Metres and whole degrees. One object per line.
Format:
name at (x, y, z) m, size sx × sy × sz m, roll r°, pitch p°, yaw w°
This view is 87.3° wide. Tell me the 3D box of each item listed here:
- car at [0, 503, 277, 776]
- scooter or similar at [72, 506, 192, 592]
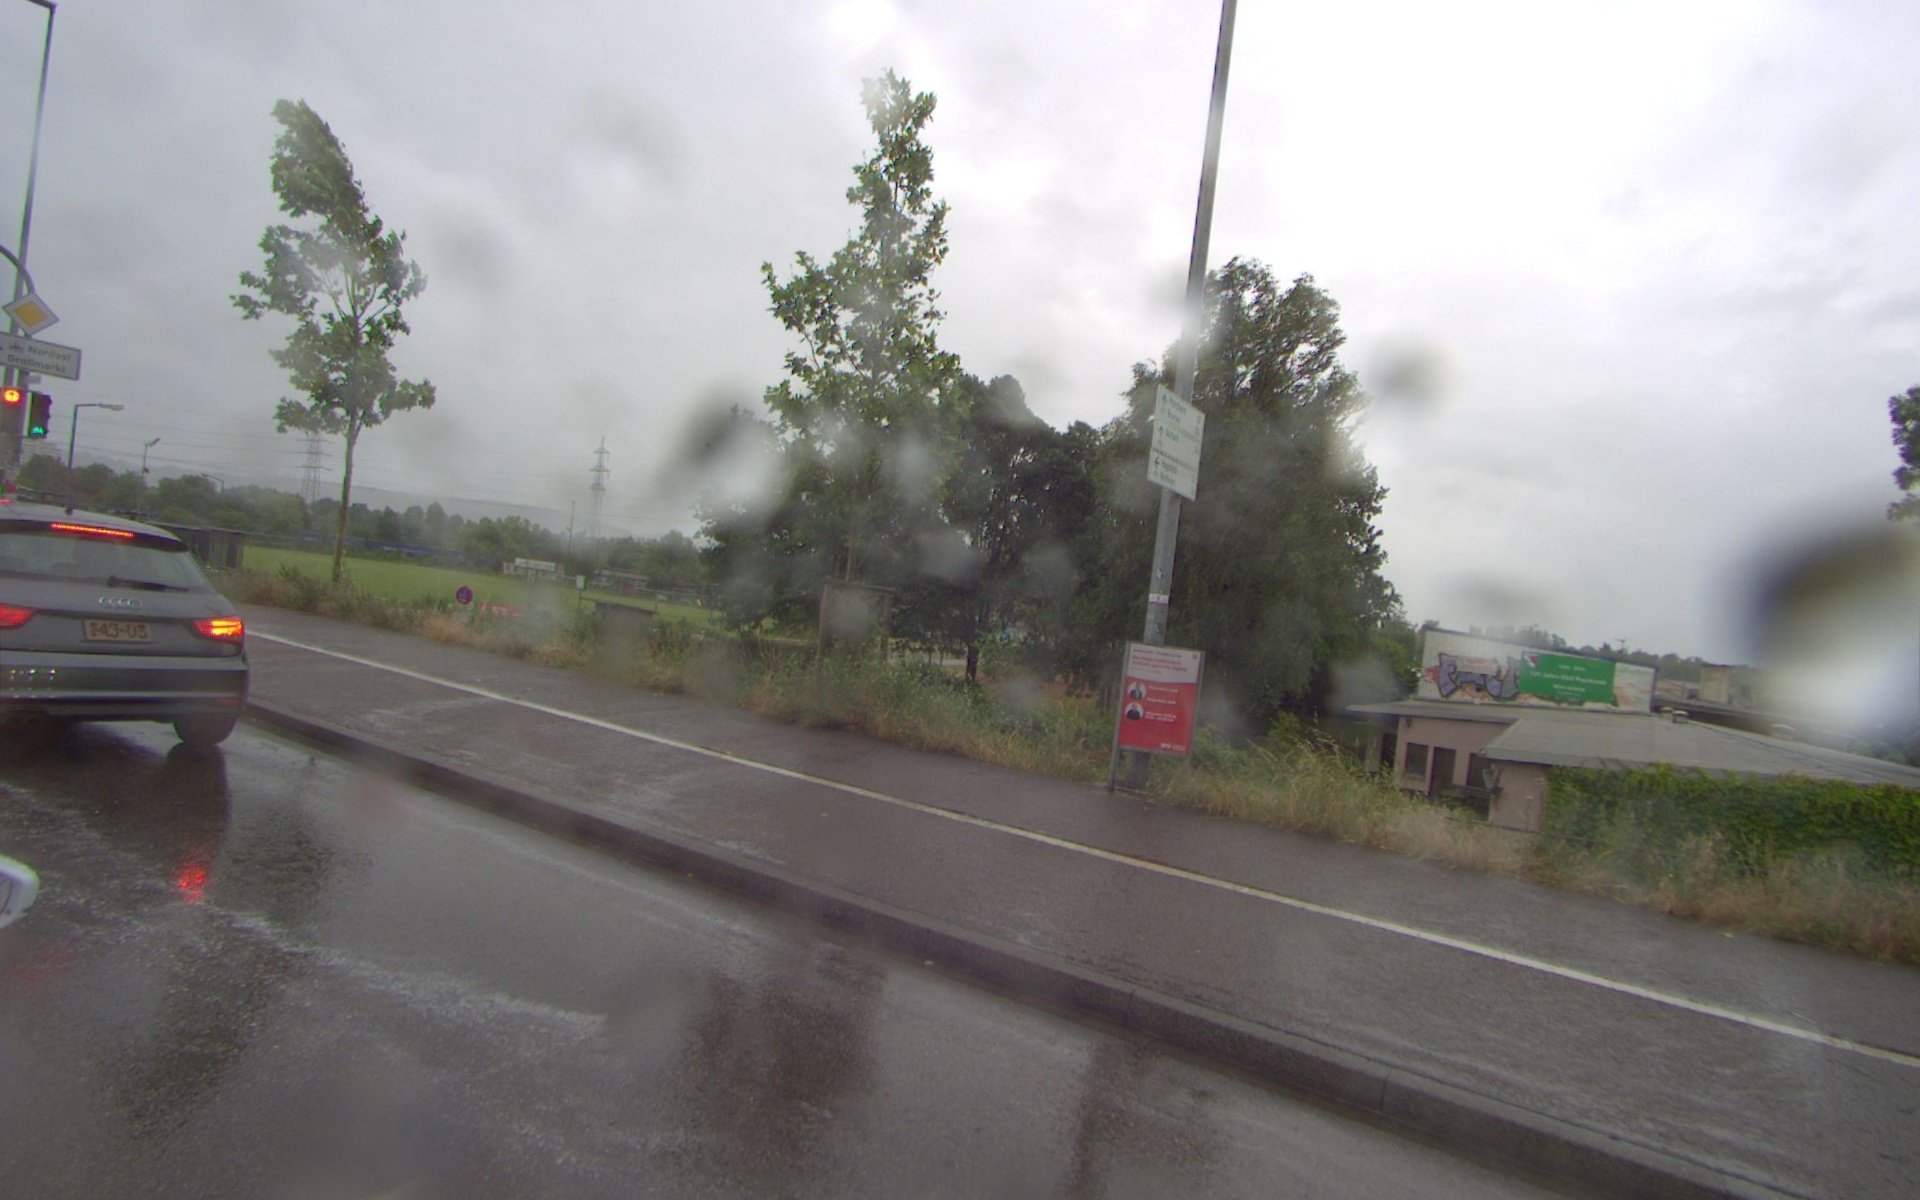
car at (-6.344, 0.084, 6.593) m, size 3.569 × 1.383 × 1.600 m, roll 7°, pitch 0°, yaw 30°
scooter or similar at (-14.616, -0.922, 17.718) m, size 2.971 × 1.226 × 0.691 m, roll 7°, pitch 0°, yaw 33°
